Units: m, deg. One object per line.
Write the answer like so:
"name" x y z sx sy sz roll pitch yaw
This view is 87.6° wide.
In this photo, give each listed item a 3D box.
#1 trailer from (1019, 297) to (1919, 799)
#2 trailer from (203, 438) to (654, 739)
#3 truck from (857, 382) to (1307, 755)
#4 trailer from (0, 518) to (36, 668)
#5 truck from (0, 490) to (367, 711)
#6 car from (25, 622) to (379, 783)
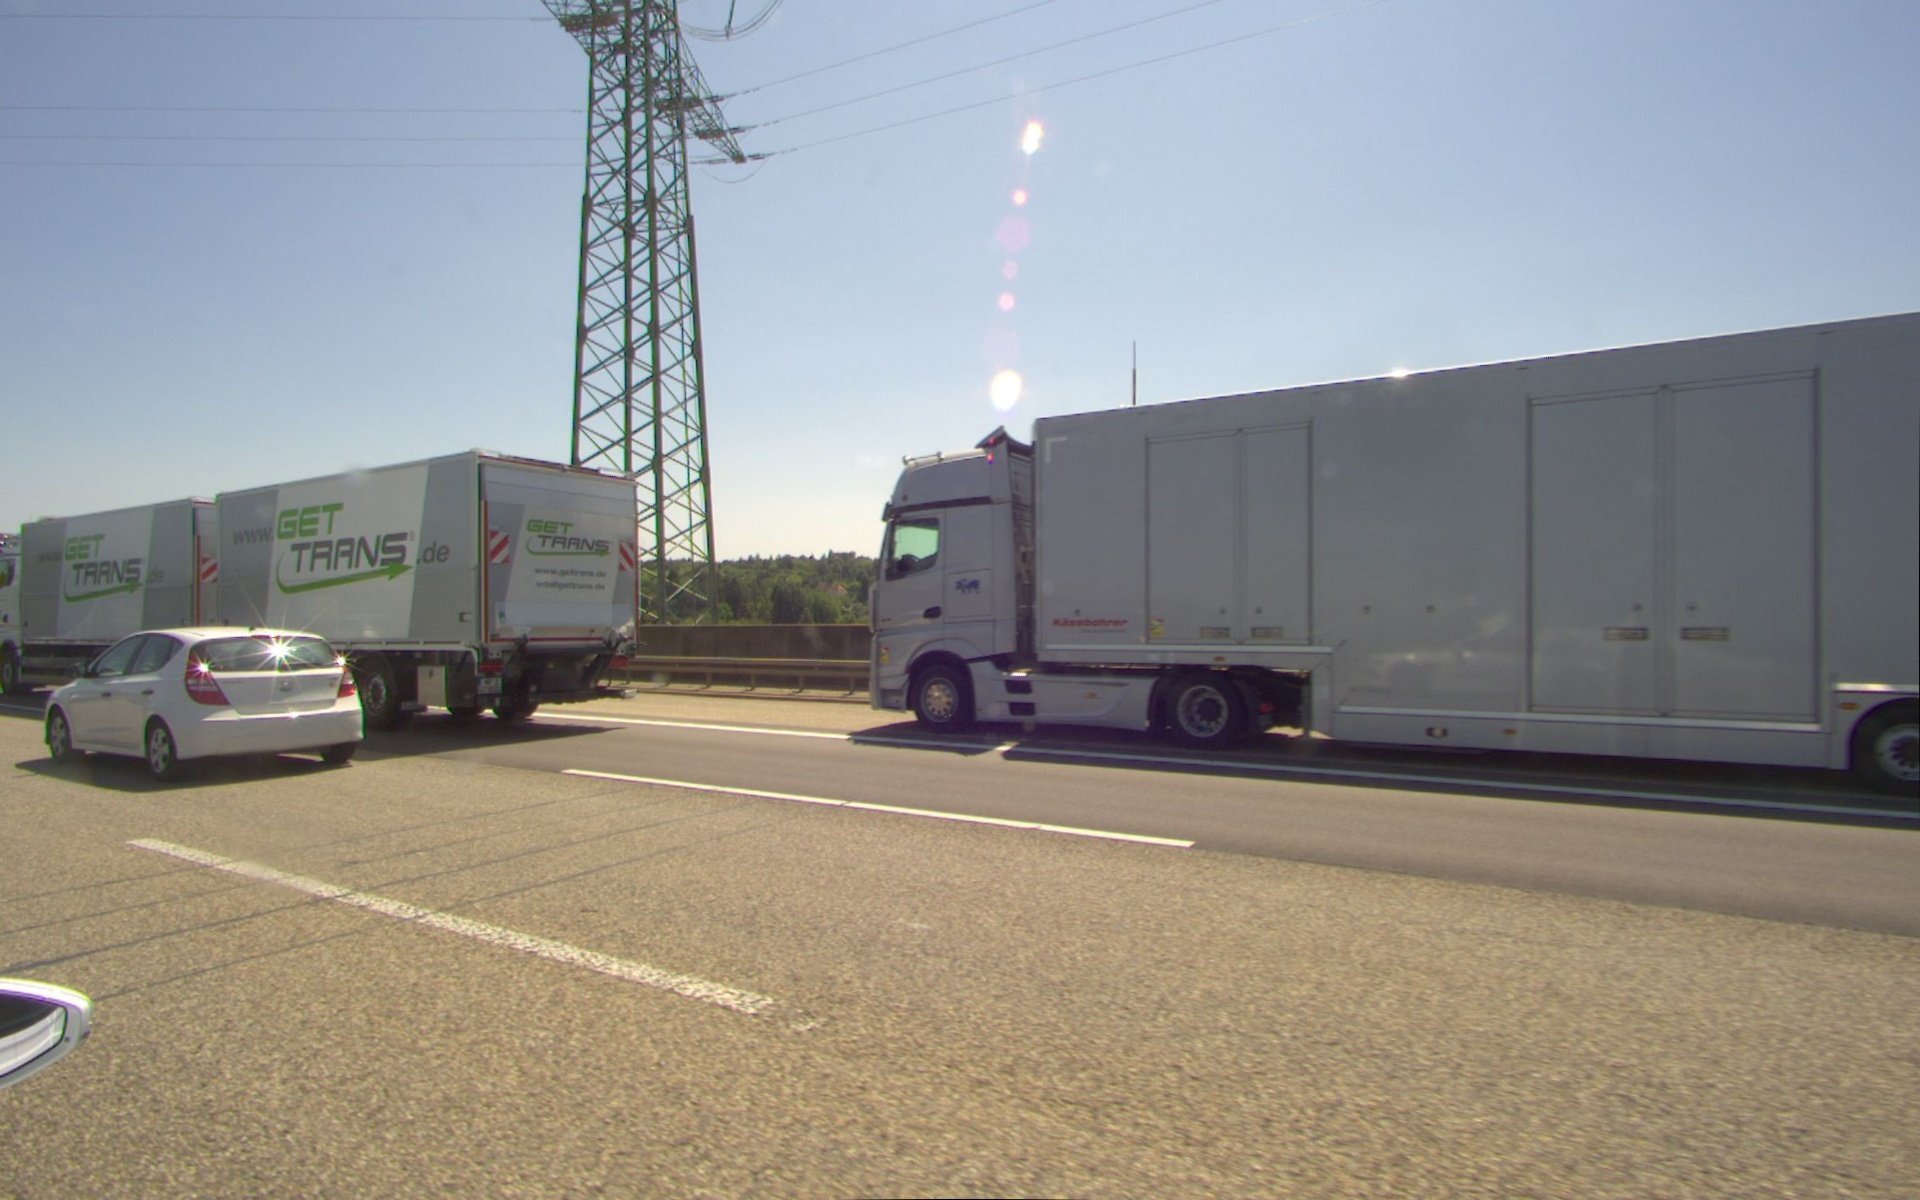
"trailer" 7.184 -0.381 10.301 13.573 4.172 2.531 -1 -1 32
"trailer" -8.566 -0.087 15.731 7.899 3.749 2.693 -1 0 32
"truck" 1.580 -0.294 13.759 5.633 4.173 2.512 -1 -1 32
"trailer" -31.505 -0.150 30.404 8.883 4.293 2.860 -1 -1 32
"truck" -16.522 0.076 20.719 10.851 3.696 2.651 -1 0 32
"car" -8.492 0.986 11.129 4.232 1.474 1.785 -1 -1 32
